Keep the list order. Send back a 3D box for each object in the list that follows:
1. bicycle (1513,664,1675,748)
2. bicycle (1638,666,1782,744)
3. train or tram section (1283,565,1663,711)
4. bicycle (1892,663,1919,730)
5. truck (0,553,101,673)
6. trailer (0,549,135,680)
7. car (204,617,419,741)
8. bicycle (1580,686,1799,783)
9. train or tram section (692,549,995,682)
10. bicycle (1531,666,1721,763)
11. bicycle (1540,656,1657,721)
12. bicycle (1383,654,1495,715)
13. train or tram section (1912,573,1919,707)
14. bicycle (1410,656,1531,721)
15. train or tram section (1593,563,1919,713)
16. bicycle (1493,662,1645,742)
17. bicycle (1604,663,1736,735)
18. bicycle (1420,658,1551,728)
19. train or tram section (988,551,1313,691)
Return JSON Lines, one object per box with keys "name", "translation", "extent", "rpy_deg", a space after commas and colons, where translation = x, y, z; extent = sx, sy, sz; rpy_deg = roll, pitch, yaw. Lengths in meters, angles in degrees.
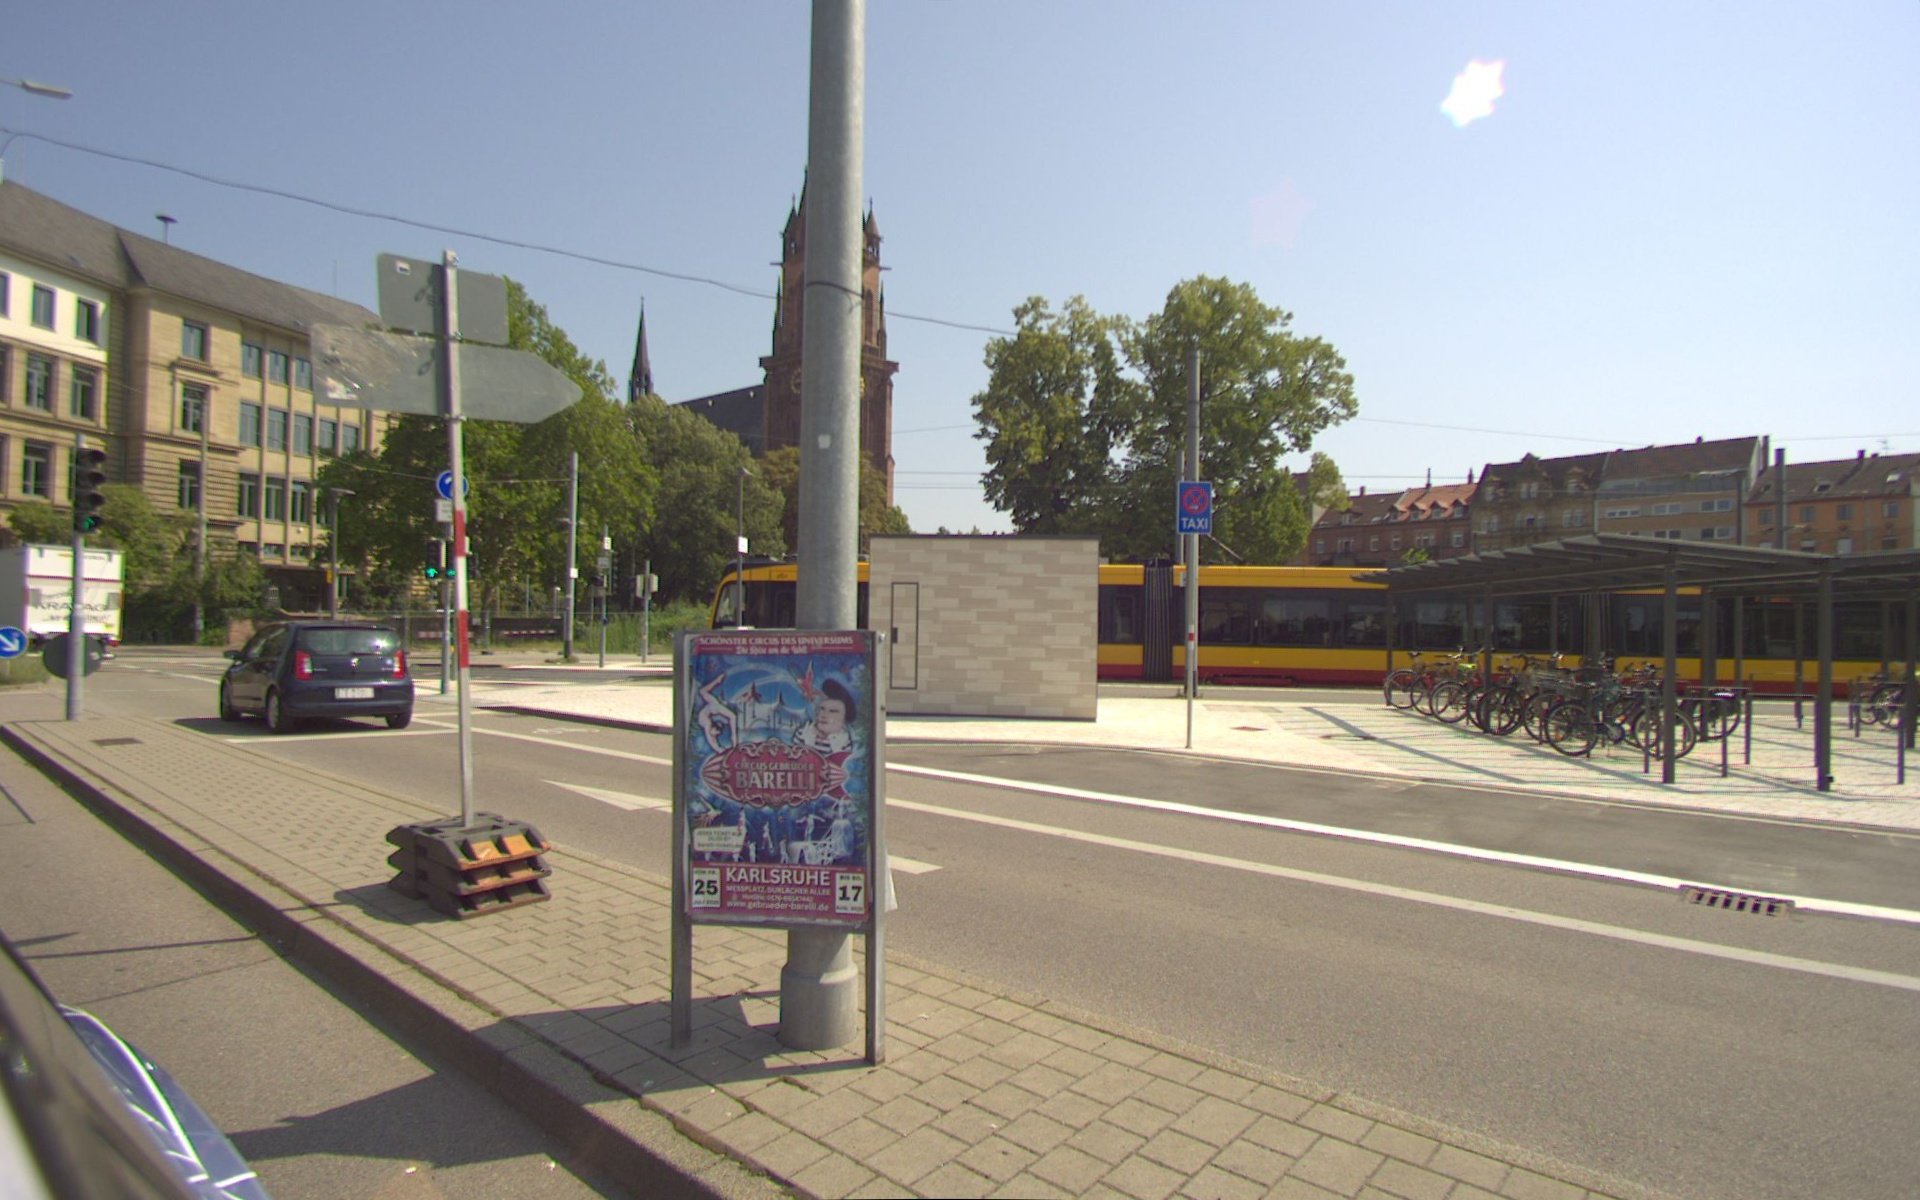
{"name": "bicycle", "translation": [8.480, 1.405, 13.592], "extent": [1.750, 1.048, 0.525], "rpy_deg": [0, -2, 9]}
{"name": "bicycle", "translation": [10.682, 1.487, 14.445], "extent": [1.622, 1.048, 0.412], "rpy_deg": [0, -2, 9]}
{"name": "train or tram section", "translation": [13.412, 1.027, 27.242], "extent": [8.422, 3.625, 3.155], "rpy_deg": [0, -3, 7]}
{"name": "bicycle", "translation": [16.099, 1.566, 16.298], "extent": [1.622, 1.048, 0.412], "rpy_deg": [0, -2, 9]}
{"name": "truck", "translation": [-27.316, 0.407, 29.746], "extent": [3.422, 3.313, 2.399], "rpy_deg": [0, -2, 38]}
{"name": "trailer", "translation": [-25.286, 0.412, 28.193], "extent": [5.081, 3.313, 2.411], "rpy_deg": [0, -2, 38]}
{"name": "car", "translation": [-9.099, 1.032, 14.110], "extent": [3.584, 1.509, 1.563], "rpy_deg": [-1, -4, 42]}
{"name": "bicycle", "translation": [7.848, 1.430, 10.939], "extent": [1.877, 0.890, 0.490], "rpy_deg": [2, -2, 10]}
{"name": "train or tram section", "translation": [-3.197, 0.510, 29.234], "extent": [8.226, 3.588, 3.131], "rpy_deg": [0, -3, 7]}
{"name": "bicycle", "translation": [8.035, 1.369, 12.269], "extent": [1.844, 1.090, 0.525], "rpy_deg": [0, -2, 9]}
{"name": "bicycle", "translation": [10.714, 1.478, 17.013], "extent": [1.622, 1.048, 0.412], "rpy_deg": [0, -2, 9]}
{"name": "bicycle", "translation": [8.699, 1.522, 18.434], "extent": [1.750, 1.048, 0.525], "rpy_deg": [0, -2, 9]}
{"name": "train or tram section", "translation": [29.712, 0.972, 25.323], "extent": [8.143, 3.597, 3.139], "rpy_deg": [0, -3, 6]}
{"name": "bicycle", "translation": [8.684, 1.495, 17.270], "extent": [1.750, 1.048, 0.525], "rpy_deg": [0, -2, 9]}
{"name": "train or tram section", "translation": [21.640, 1.000, 26.257], "extent": [8.145, 3.625, 3.155], "rpy_deg": [0, -3, 7]}
{"name": "bicycle", "translation": [8.562, 1.424, 14.290], "extent": [1.750, 1.048, 0.525], "rpy_deg": [0, -2, 9]}
{"name": "bicycle", "translation": [10.878, 1.509, 15.543], "extent": [1.622, 1.048, 0.412], "rpy_deg": [0, -2, 9]}
{"name": "bicycle", "translation": [8.277, 1.456, 15.986], "extent": [1.750, 1.048, 0.525], "rpy_deg": [0, -2, 9]}
{"name": "train or tram section", "translation": [5.086, 0.625, 28.240], "extent": [8.422, 3.625, 3.155], "rpy_deg": [0, -3, 7]}
